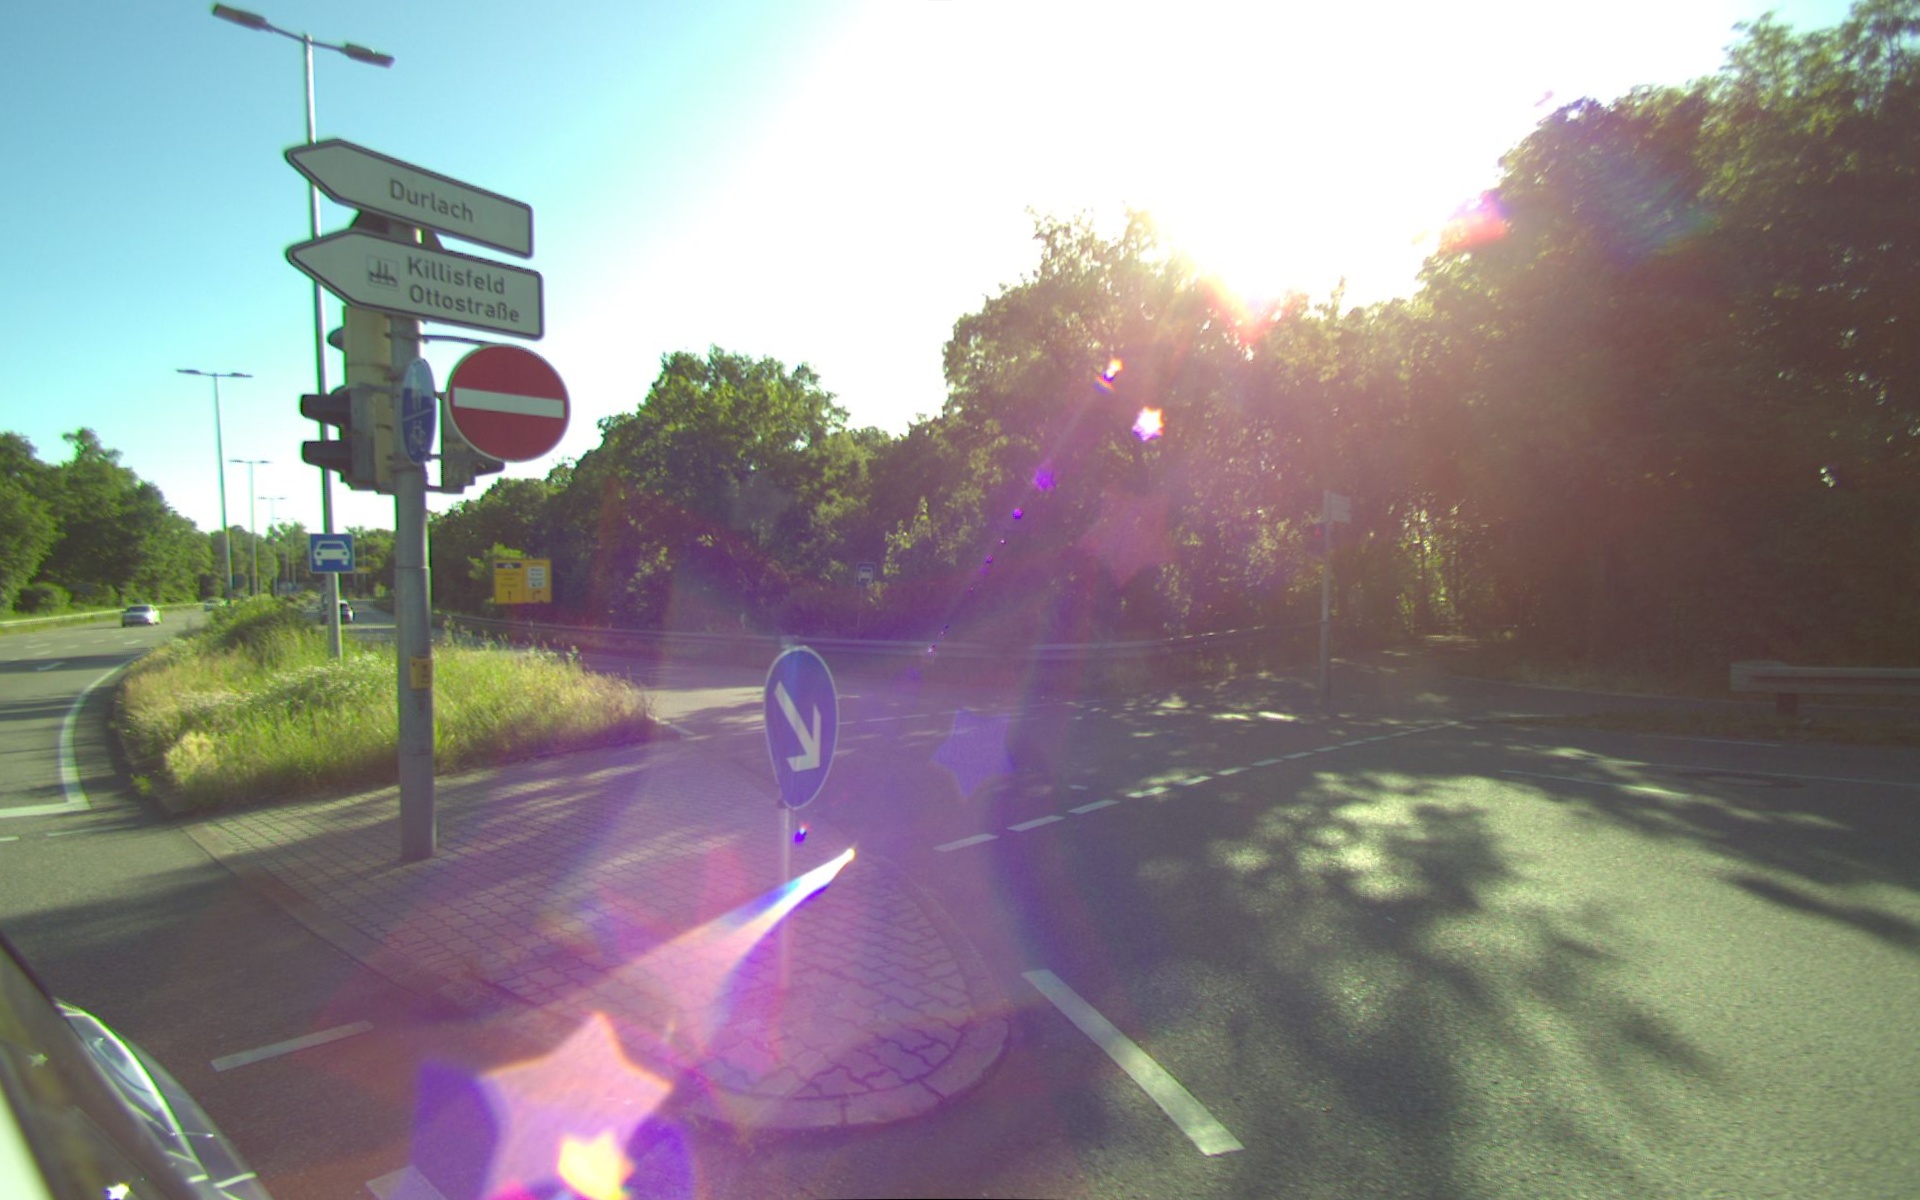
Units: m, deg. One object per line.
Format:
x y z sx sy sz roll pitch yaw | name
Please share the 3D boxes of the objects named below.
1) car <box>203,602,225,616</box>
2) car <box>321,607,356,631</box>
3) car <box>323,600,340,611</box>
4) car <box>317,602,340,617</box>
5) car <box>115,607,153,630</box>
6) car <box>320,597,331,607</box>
-87.239 1.069 118.322 1.879 1.497 3.353 -1 0 -33 | car
-40.972 1.227 66.705 1.860 1.532 4.228 0 -1 -33 | car
-85.876 0.738 138.259 1.781 1.427 4.543 0 0 -35 | car
-62.317 0.887 99.958 1.860 1.431 4.377 1 -1 -31 | car
-56.490 1.253 69.271 1.655 1.497 3.399 -1 0 -33 | car
-113.445 0.369 180.846 1.664 1.700 3.632 -1 0 -32 | car
